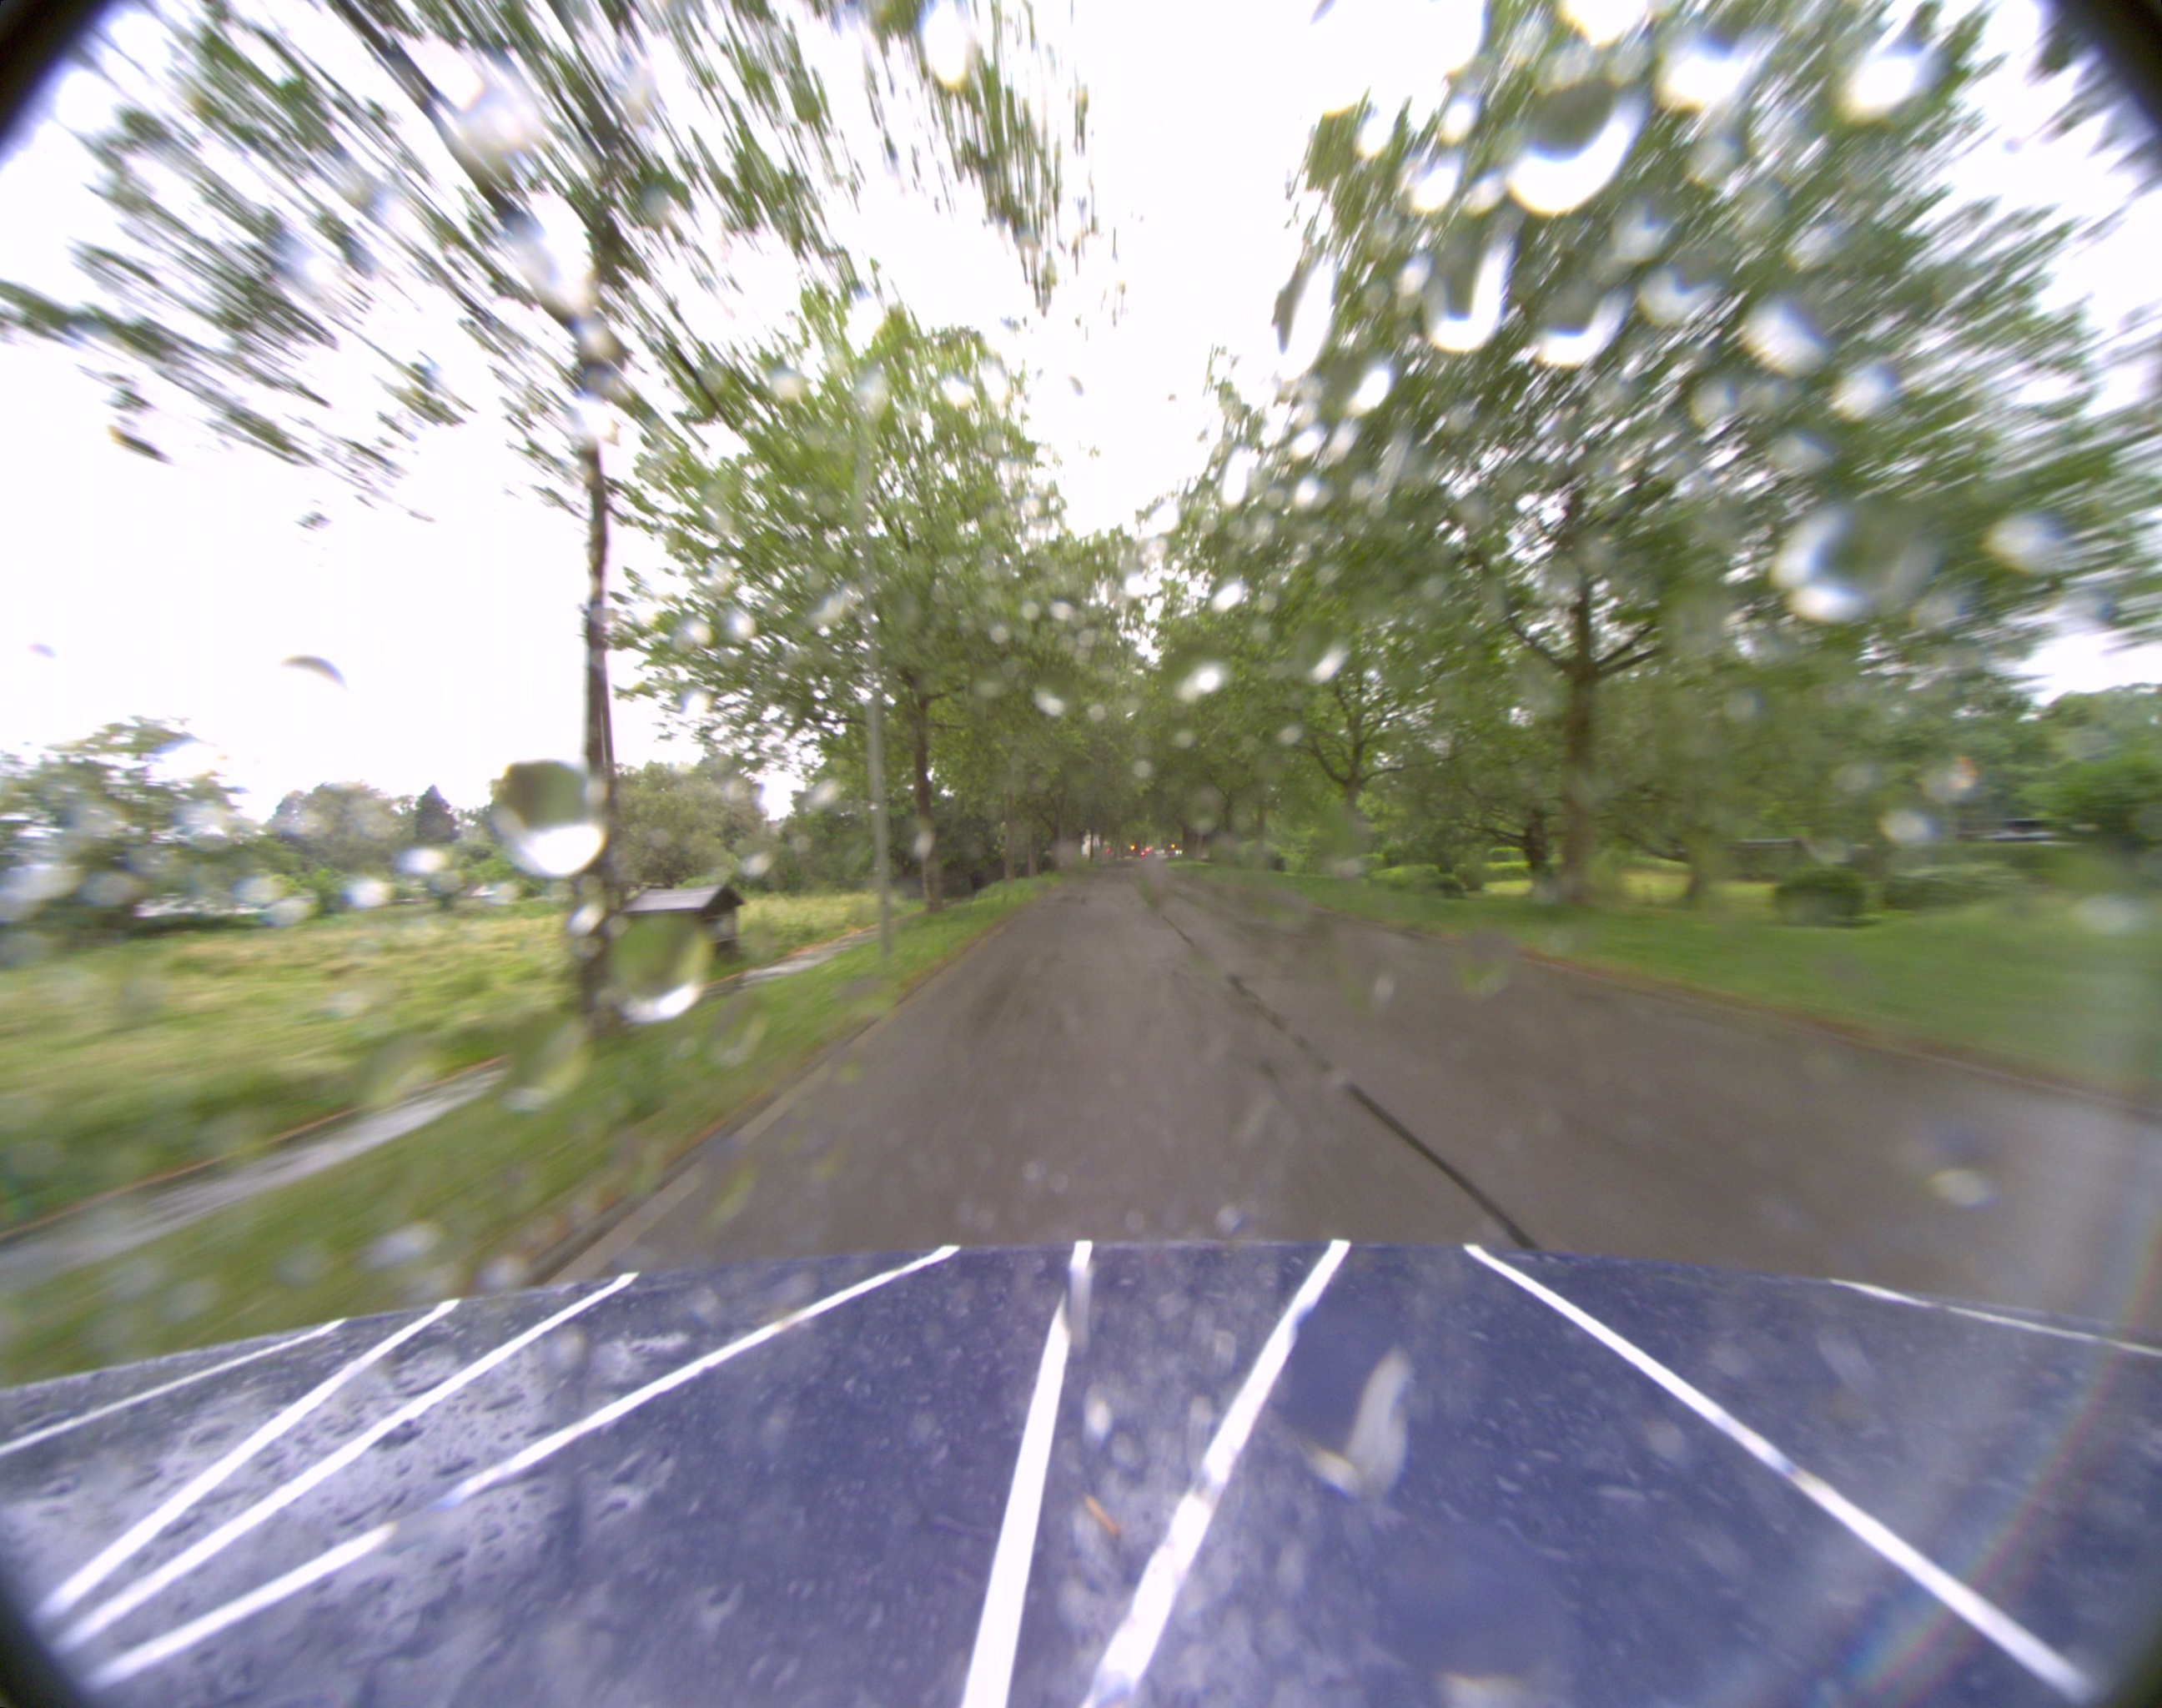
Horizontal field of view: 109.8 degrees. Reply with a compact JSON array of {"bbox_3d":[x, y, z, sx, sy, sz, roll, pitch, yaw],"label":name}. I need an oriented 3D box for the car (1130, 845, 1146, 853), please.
[{"bbox_3d":[15.672,-1.406,209.251,4.260,1.845,1.893,-3,1,6],"label":"car"}]

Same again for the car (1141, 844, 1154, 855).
[{"bbox_3d":[10.856,-0.730,124.501,1.867,1.740,5.016,-1,1,2],"label":"car"}]
